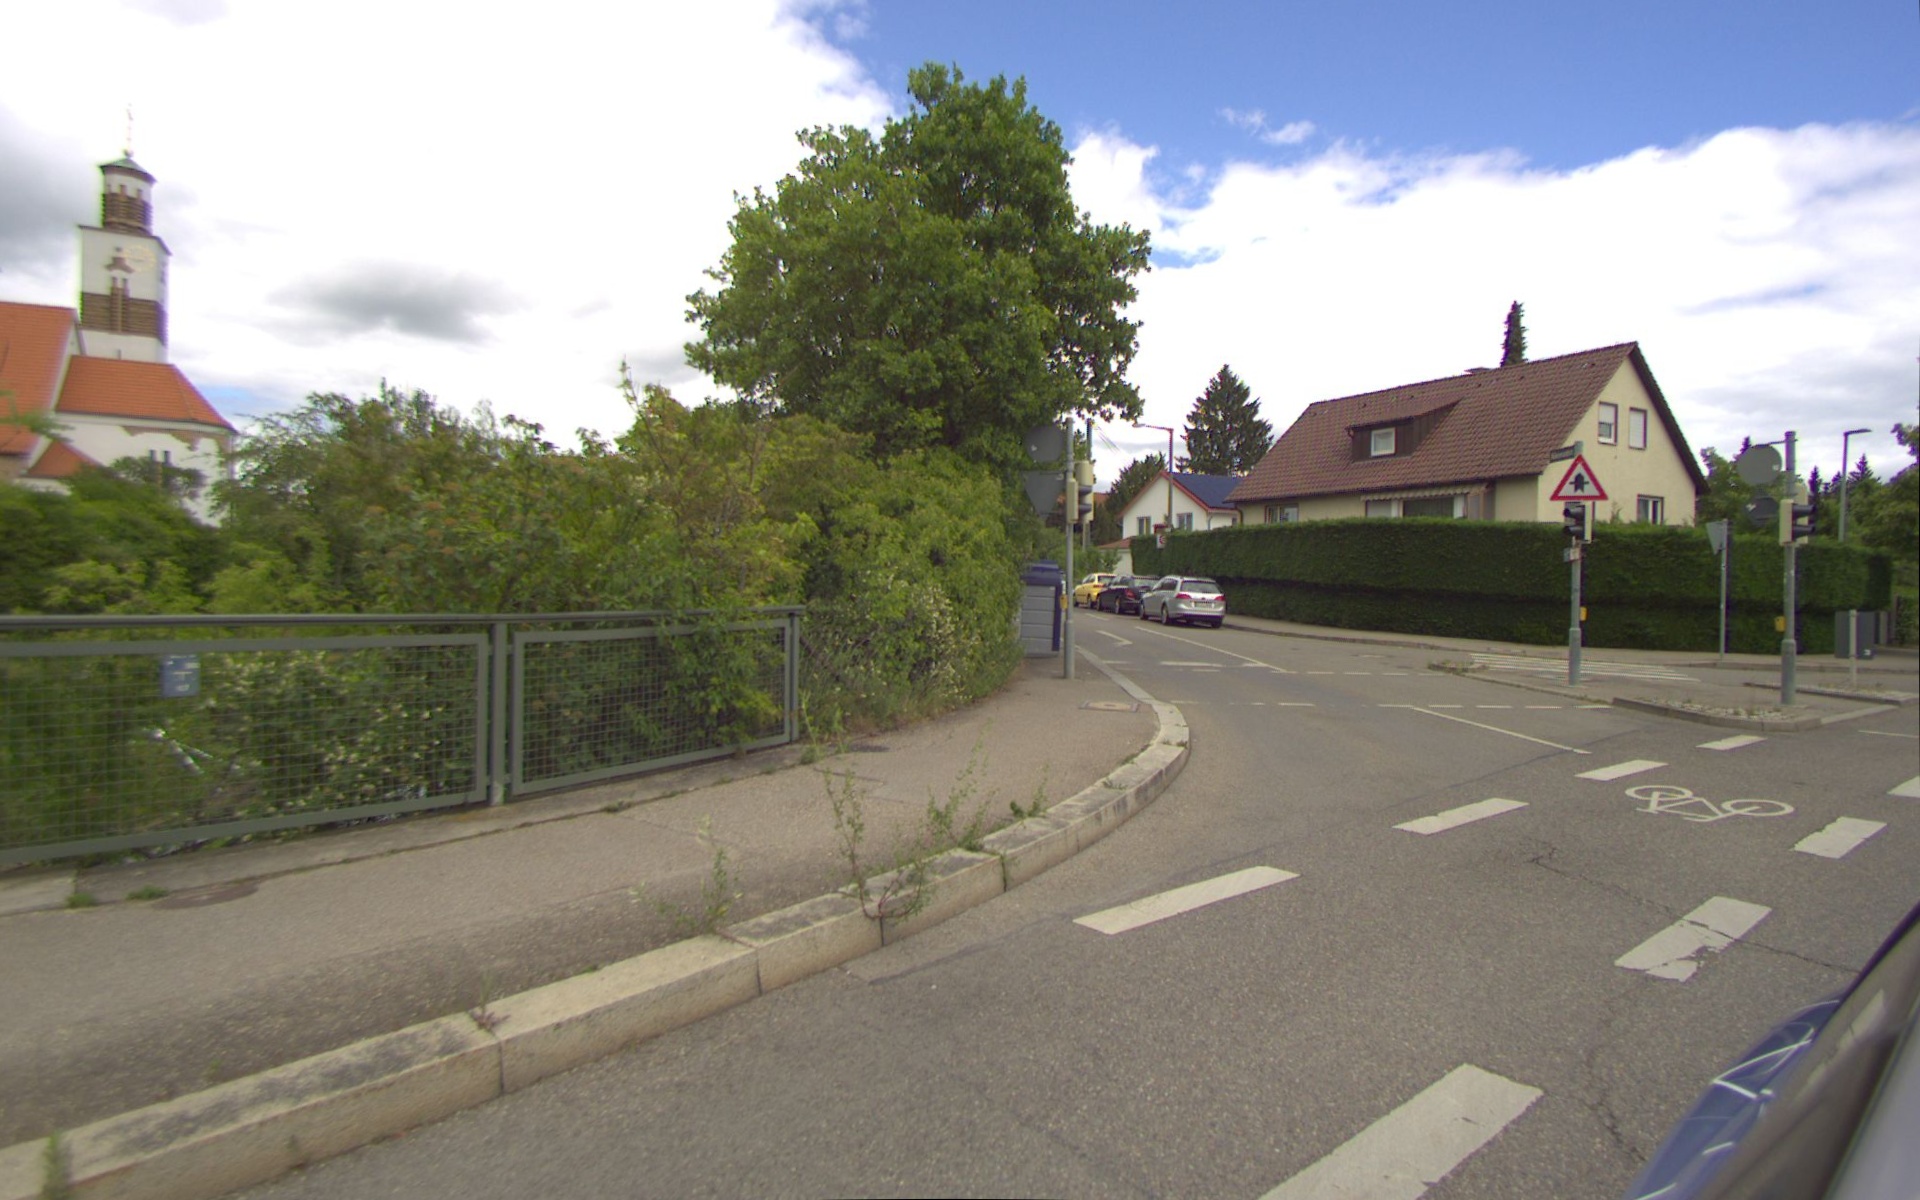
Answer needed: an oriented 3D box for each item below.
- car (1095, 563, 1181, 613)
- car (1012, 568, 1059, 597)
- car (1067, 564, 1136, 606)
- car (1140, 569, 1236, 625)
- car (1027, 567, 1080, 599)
[{"bbox_3d":[6.309,-0.477,36.363,1.960,1.660,4.145,1,2,-6],"label":"car"},{"bbox_3d":[4.160,-1.008,56.598,1.834,1.488,4.358,1,2,-6],"label":"car"},{"bbox_3d":[5.784,-0.655,41.813,1.834,1.633,4.145,1,2,-6],"label":"car"},{"bbox_3d":[6.811,-0.145,30.644,1.680,1.461,3.928,3,2,-4],"label":"car"},{"bbox_3d":[4.667,-0.896,51.268,1.834,1.488,4.358,1,2,-6],"label":"car"}]
